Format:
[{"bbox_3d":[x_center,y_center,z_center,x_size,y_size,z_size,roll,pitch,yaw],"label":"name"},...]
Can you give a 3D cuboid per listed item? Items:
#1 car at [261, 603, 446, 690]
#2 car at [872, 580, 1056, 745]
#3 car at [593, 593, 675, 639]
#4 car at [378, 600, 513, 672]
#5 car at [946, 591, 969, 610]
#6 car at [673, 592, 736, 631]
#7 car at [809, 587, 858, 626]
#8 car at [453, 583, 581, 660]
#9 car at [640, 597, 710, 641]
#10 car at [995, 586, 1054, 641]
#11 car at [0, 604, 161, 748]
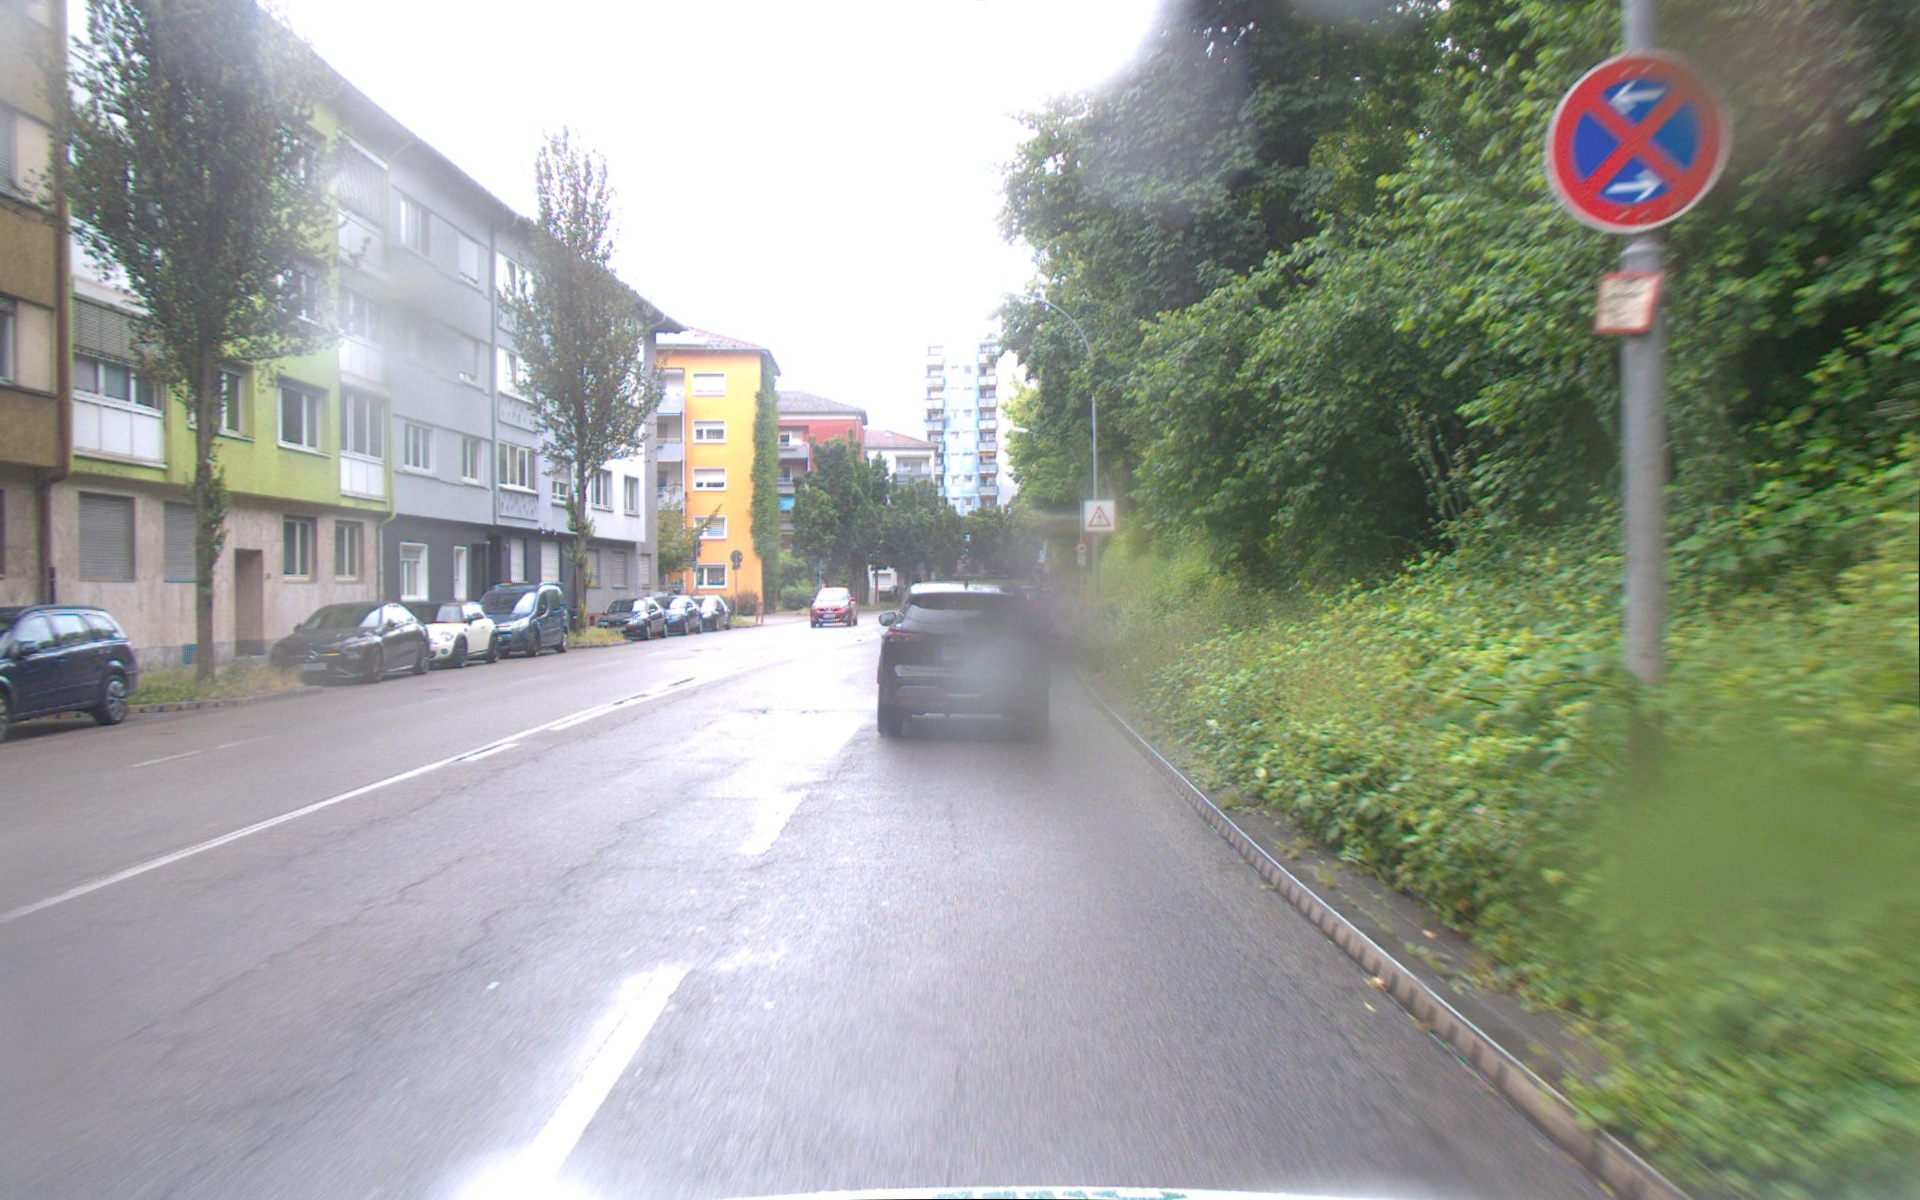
[{"bbox_3d":[-11.120,0.799,30.677,1.781,1.396,4.679,-2,0,-2],"label":"car"},{"bbox_3d":[0.098,0.610,18.438,1.806,1.610,4.001,1,0,2],"label":"car"},{"bbox_3d":[-10.815,0.507,55.171,1.653,1.381,4.580,-3,0,1],"label":"car"},{"bbox_3d":[-11.219,0.751,36.342,1.645,1.400,4.000,-3,0,0],"label":"car"},{"bbox_3d":[-0.187,0.052,140.562,1.751,1.530,4.649,-2,0,1],"label":"car"},{"bbox_3d":[-10.262,0.422,66.780,1.677,1.450,4.324,-2,0,2],"label":"car"},{"bbox_3d":[-5.090,0.269,66.849,1.671,1.504,3.680,-1,0,0],"label":"car"},{"bbox_3d":[-11.164,0.506,41.975,1.851,1.797,4.601,-2,0,1],"label":"car"},{"bbox_3d":[-10.457,0.659,60.997,1.646,1.474,4.277,-3,0,2],"label":"car"},{"bbox_3d":[2.128,0.430,54.462,1.848,1.741,4.001,0,0,2],"label":"car"},{"bbox_3d":[-11.191,0.860,19.140,1.683,1.514,4.514,-2,0,-1],"label":"car"}]
